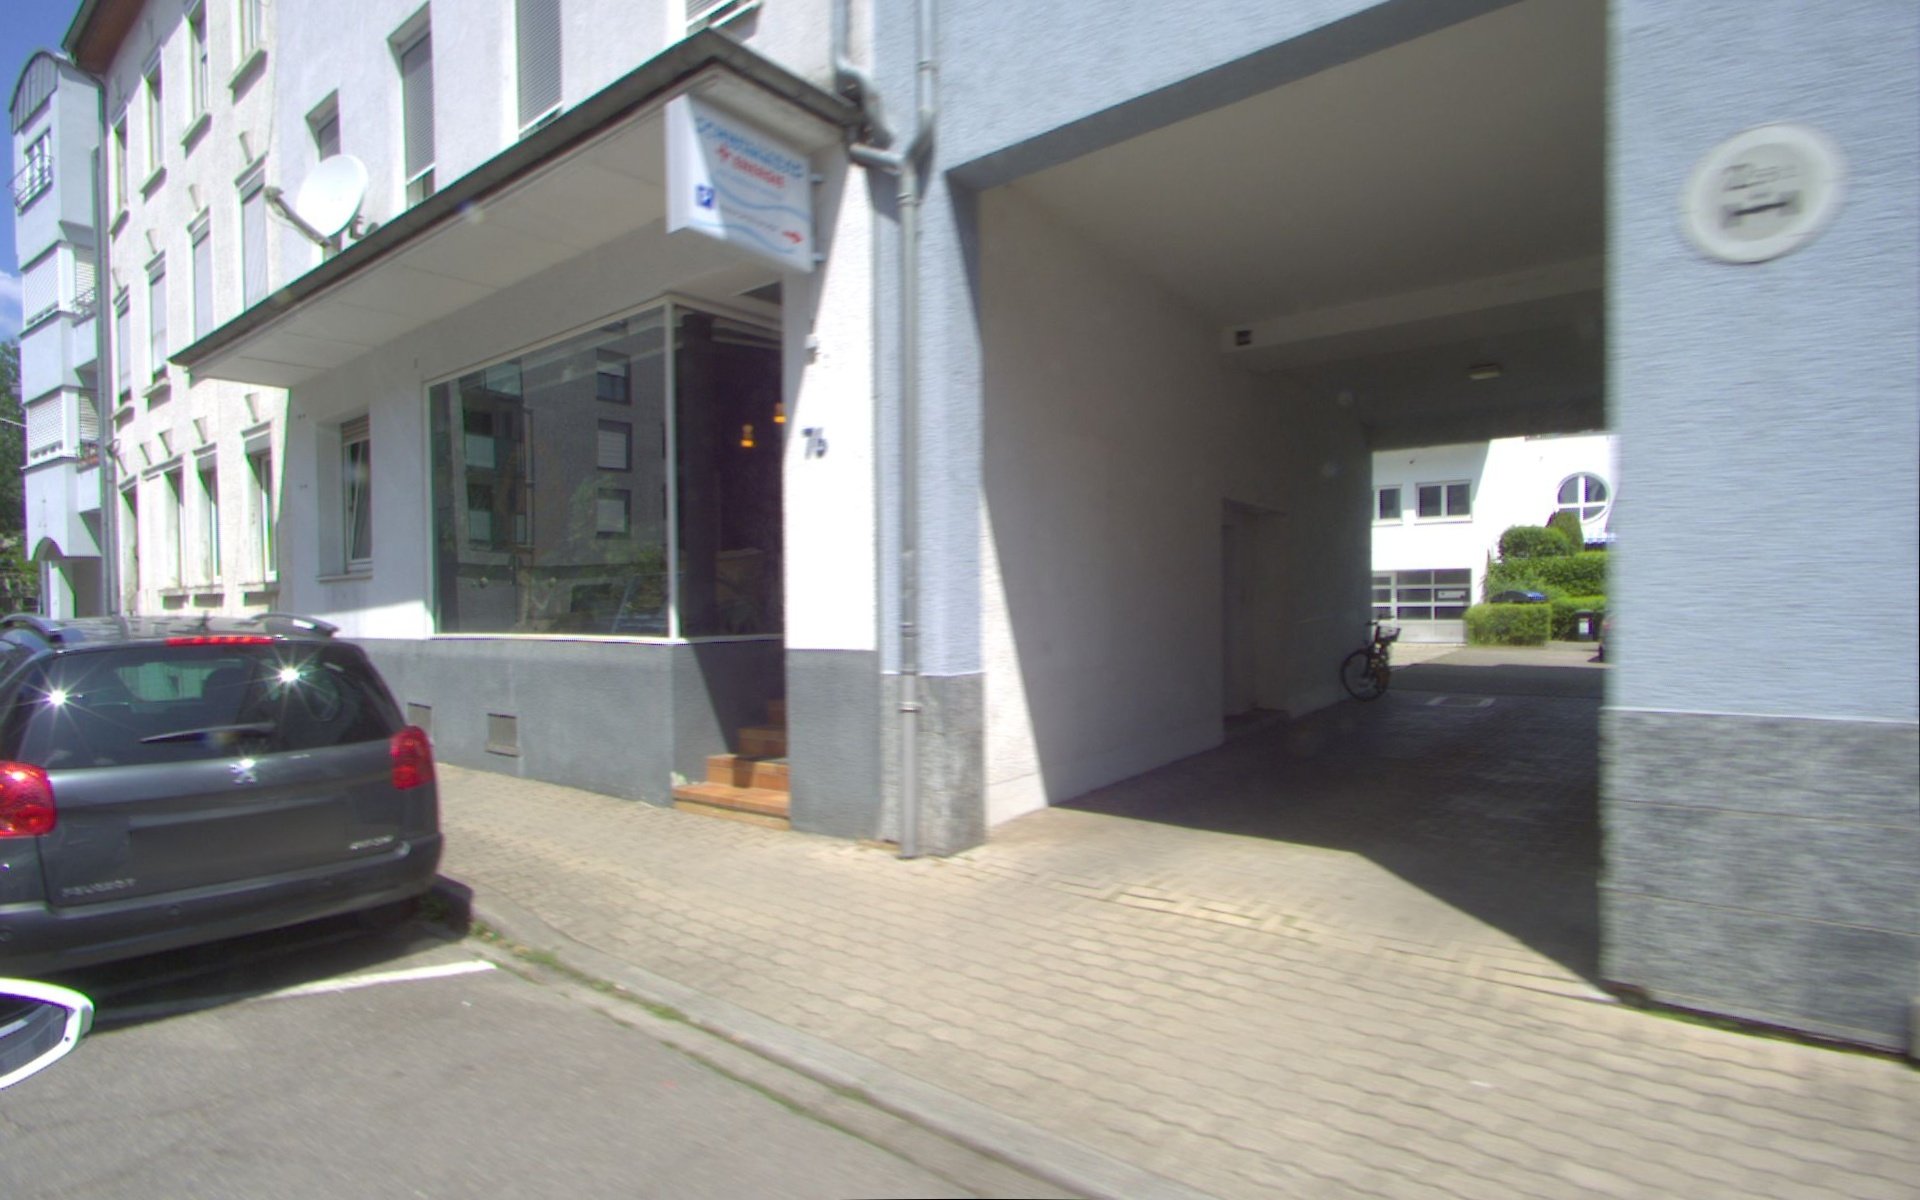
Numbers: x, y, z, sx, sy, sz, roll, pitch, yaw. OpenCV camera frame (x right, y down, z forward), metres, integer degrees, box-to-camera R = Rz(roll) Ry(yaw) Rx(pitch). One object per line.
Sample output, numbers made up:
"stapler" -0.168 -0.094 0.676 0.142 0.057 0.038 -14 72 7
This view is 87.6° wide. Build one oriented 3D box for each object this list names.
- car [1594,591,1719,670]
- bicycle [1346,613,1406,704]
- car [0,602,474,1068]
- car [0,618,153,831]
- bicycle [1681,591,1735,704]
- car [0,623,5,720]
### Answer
"car" 14.464 0.555 20.719 1.748 1.439 3.969 2 1 40
"bicycle" 5.903 0.788 14.161 0.508 1.161 1.848 0 0 32
"car" -4.235 0.803 5.142 3.954 1.528 1.701 -1 0 41
"car" -8.322 0.888 8.289 4.491 1.439 1.721 -1 0 40
"bicycle" 10.118 0.600 13.546 0.554 1.389 1.706 0 3 37
"car" -15.774 1.059 15.031 3.495 1.404 1.612 -1 0 39
